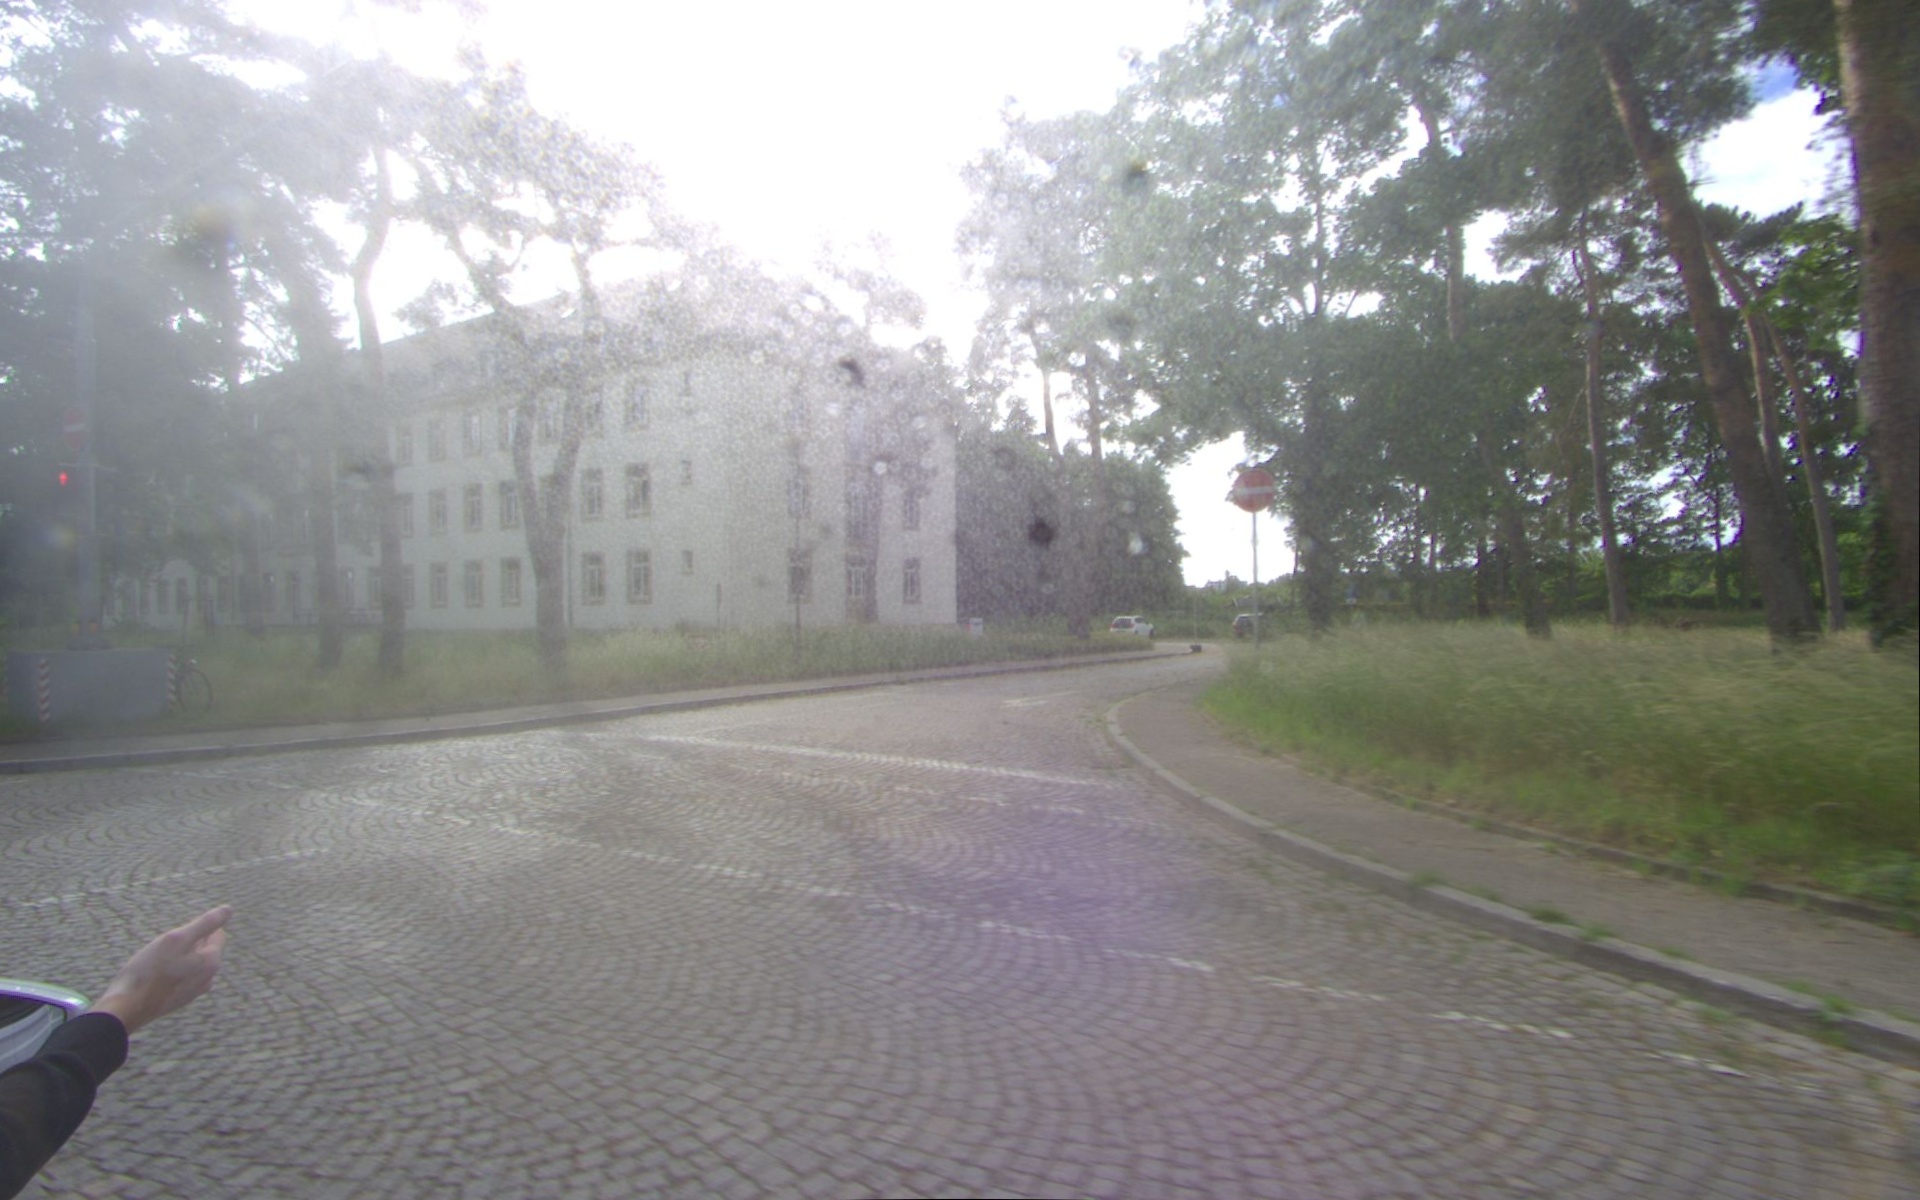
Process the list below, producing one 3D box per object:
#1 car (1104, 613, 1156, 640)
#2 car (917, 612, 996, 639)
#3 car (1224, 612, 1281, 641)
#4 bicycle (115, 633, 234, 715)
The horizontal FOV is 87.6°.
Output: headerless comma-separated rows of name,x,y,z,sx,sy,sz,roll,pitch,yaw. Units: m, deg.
car,10.215,1.589,59.912,1.748,1.553,3.674,-1,-1,33
car,-0.214,1.521,60.803,4.385,1.607,1.990,-1,-1,31
car,16.184,1.446,55.250,1.972,1.553,3.978,-1,-1,33
bicycle,-11.326,1.036,14.434,1.806,1.077,0.643,-1,3,29
